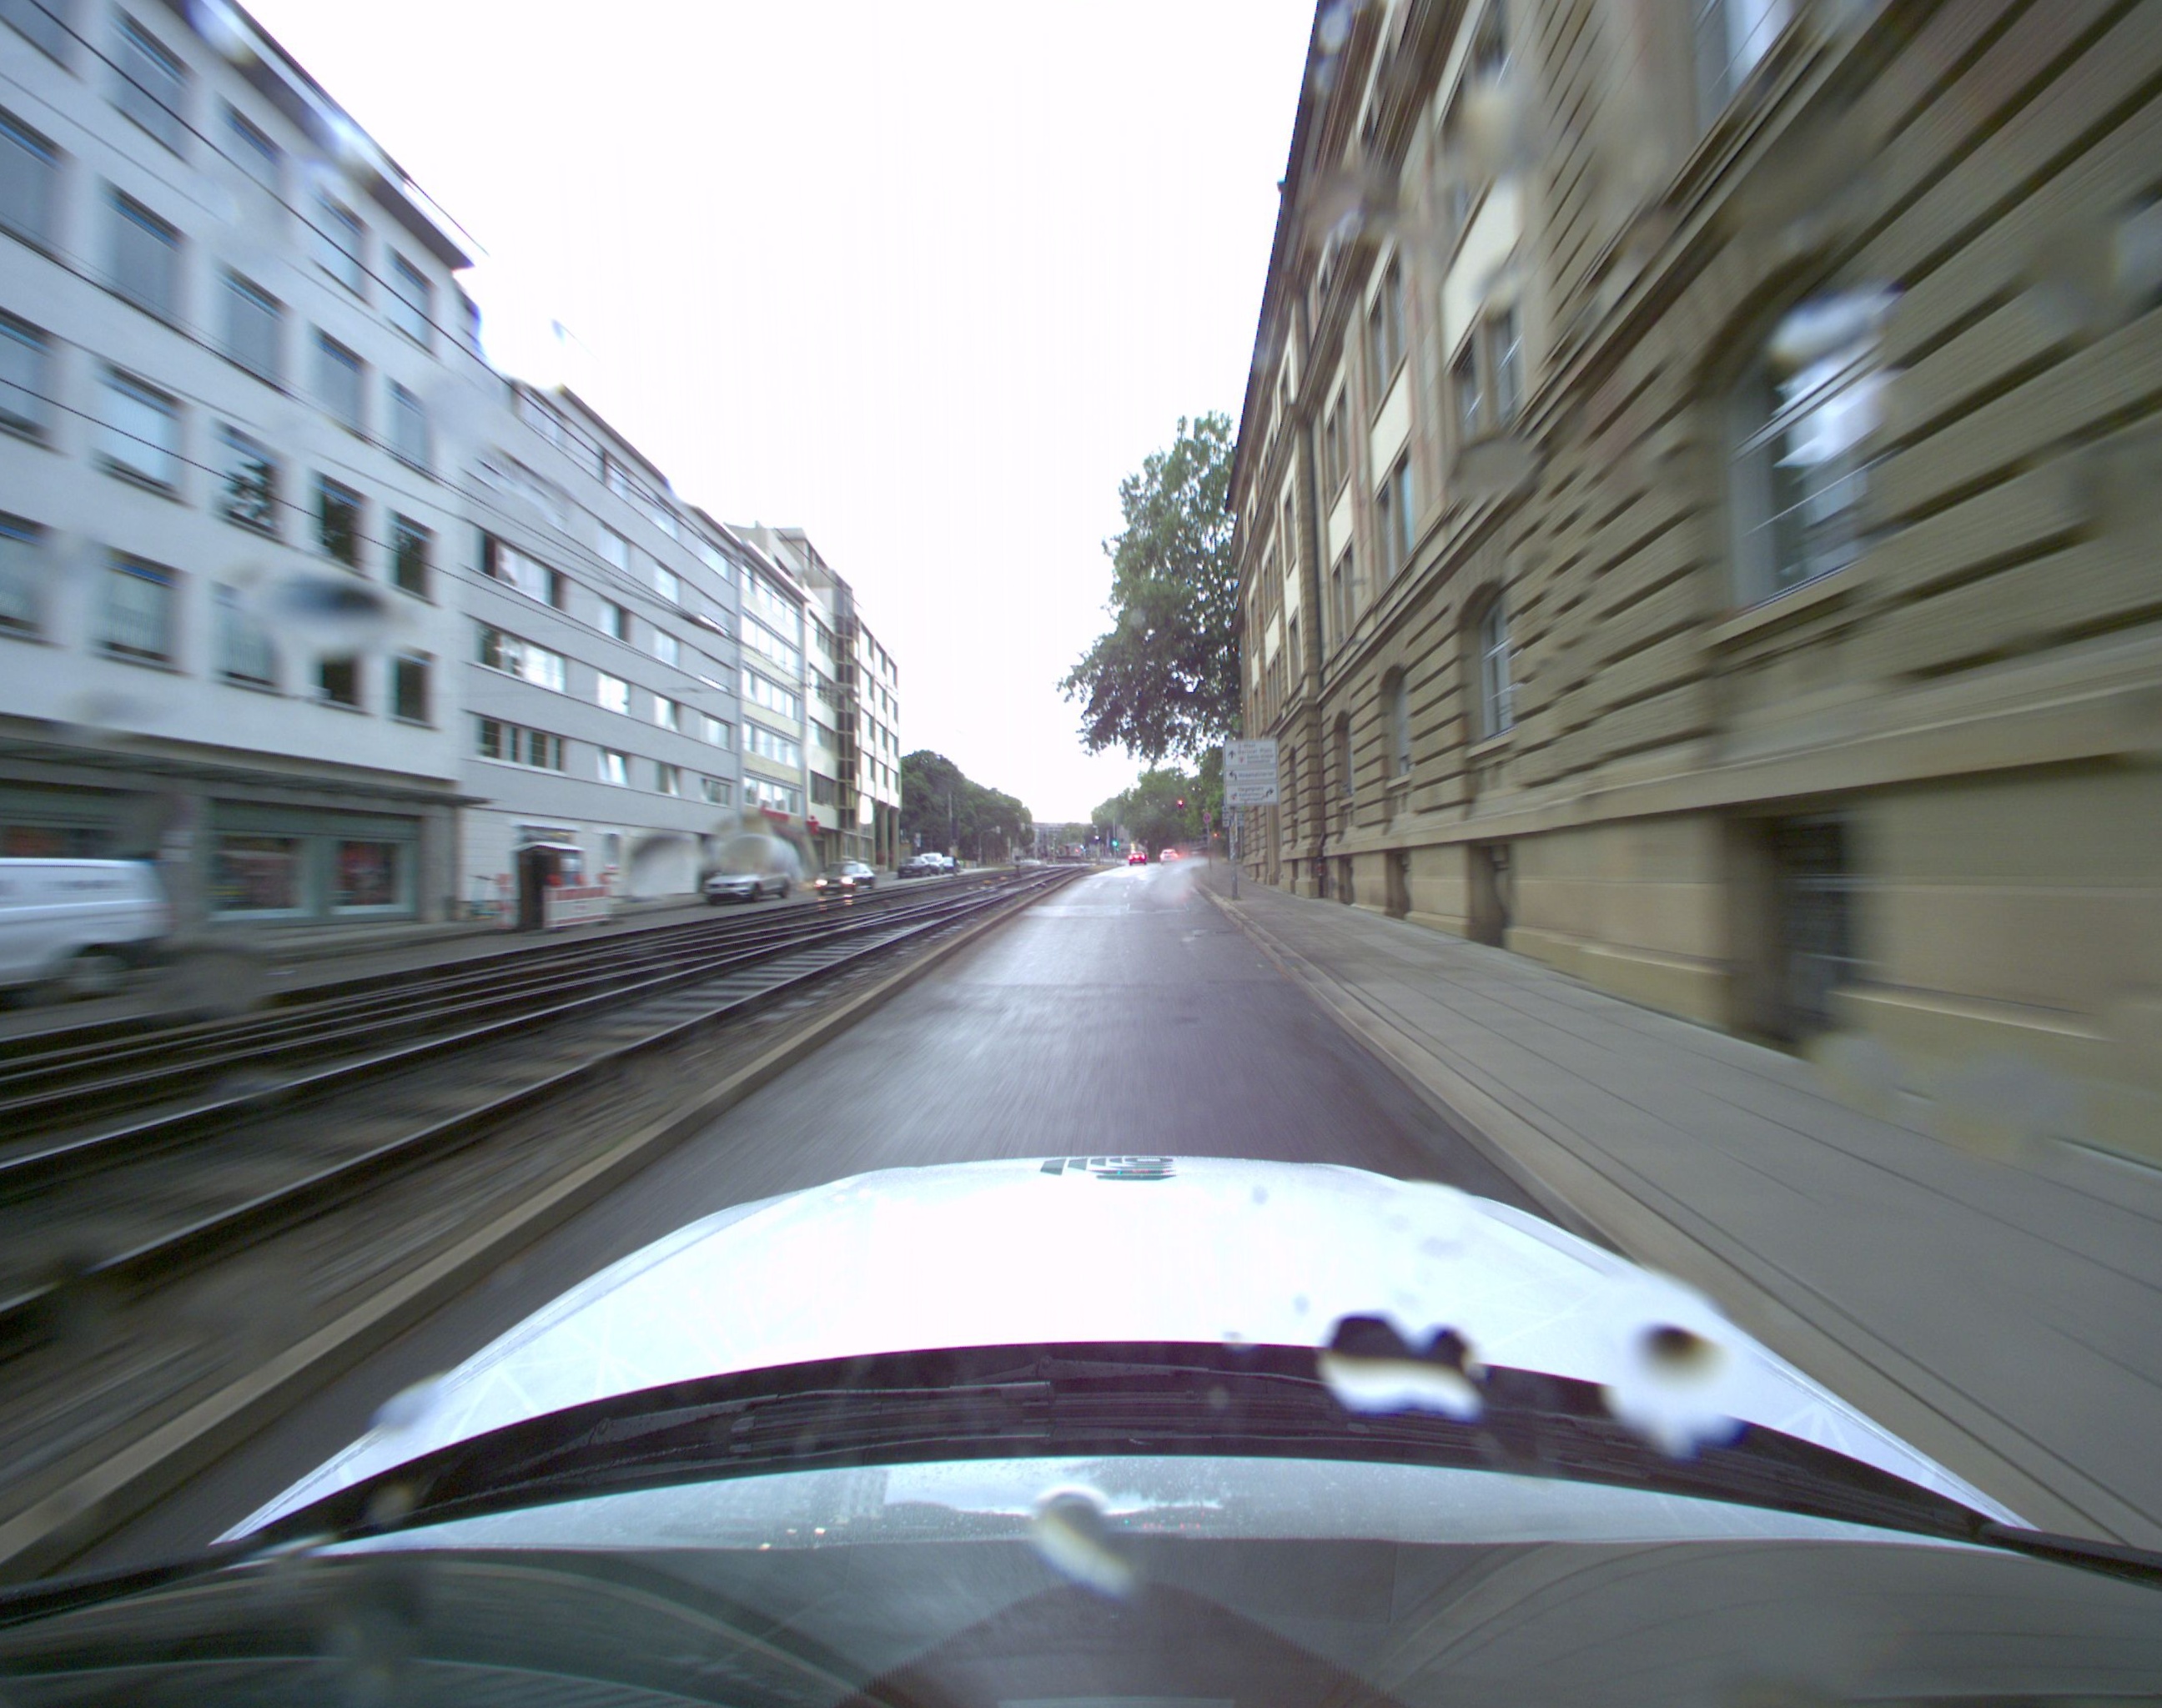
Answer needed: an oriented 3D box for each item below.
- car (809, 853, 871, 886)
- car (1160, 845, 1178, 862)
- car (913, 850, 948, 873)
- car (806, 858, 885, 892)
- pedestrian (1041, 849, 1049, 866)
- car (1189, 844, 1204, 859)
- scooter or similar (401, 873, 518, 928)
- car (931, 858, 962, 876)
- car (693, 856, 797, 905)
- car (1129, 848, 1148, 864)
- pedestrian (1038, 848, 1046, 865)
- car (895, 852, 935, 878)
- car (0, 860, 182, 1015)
[{"bbox_3d":[-12.940,0.835,44.027,1.987,1.674,4.694,0,-1,0],"label":"car"},{"bbox_3d":[8.908,-0.043,82.364,1.670,1.576,4.262,-3,0,7],"label":"car"},{"bbox_3d":[-12.155,0.623,65.919,1.987,1.850,4.694,0,-1,0],"label":"car"},{"bbox_3d":[-10.100,0.889,35.329,1.987,1.255,4.694,-3,-1,0],"label":"car"},{"bbox_3d":[-3.873,0.403,87.110,0.640,1.788,0.806,0,-1,-16],"label":"pedestrian"},{"bbox_3d":[24.332,-0.537,171.948,2.534,3.134,5.033,0,-1,2],"label":"car"},{"bbox_3d":[-16.685,1.206,22.011,0.694,1.374,3.090,0,-1,2],"label":"scooter or similar"},{"bbox_3d":[-11.882,1.149,72.315,1.987,1.582,4.548,0,-1,0],"label":"car"},{"bbox_3d":[-13.002,0.963,31.881,1.986,1.673,4.698,0,1,2],"label":"car"},{"bbox_3d":[6.090,0.272,86.120,1.971,1.640,4.422,0,-1,5],"label":"car"},{"bbox_3d":[-4.207,0.250,87.970,0.641,1.788,0.805,0,-1,-21],"label":"pedestrian"},{"bbox_3d":[-12.322,0.816,60.646,1.987,1.850,4.694,0,-1,0],"label":"car"},{"bbox_3d":[-13.817,1.012,9.028,1.987,1.842,5.130,-2,-1,0],"label":"car"}]
